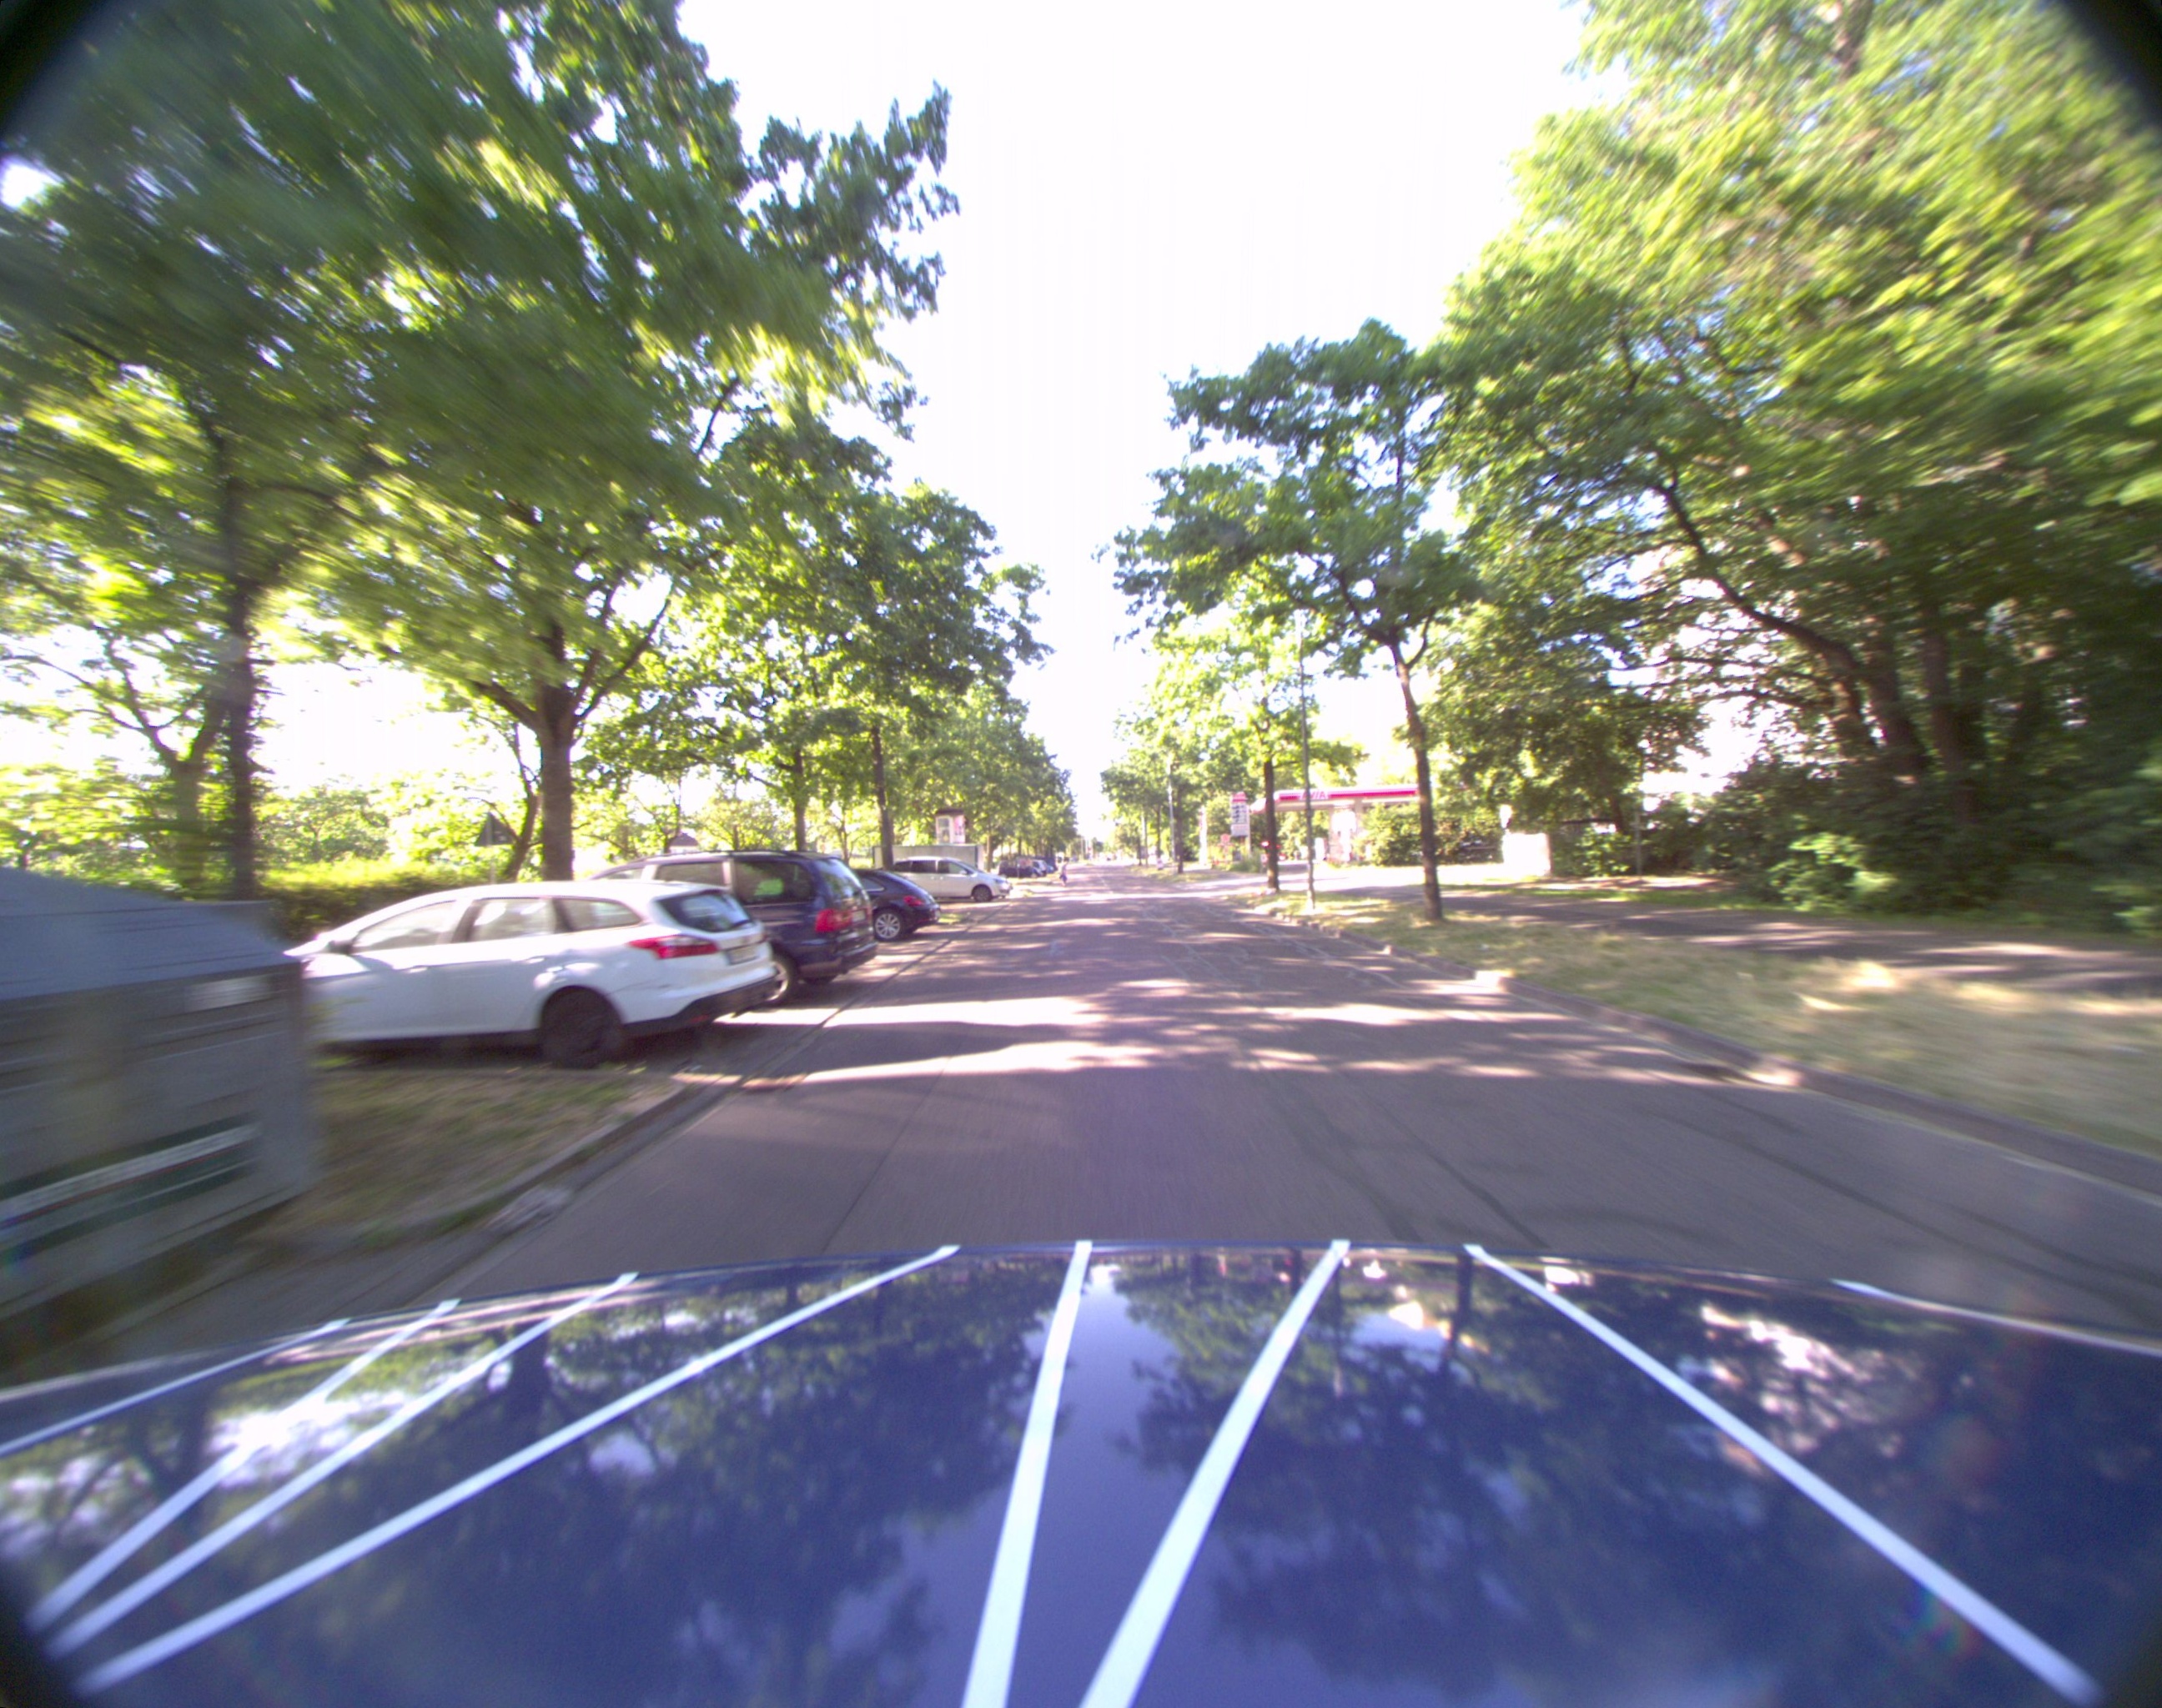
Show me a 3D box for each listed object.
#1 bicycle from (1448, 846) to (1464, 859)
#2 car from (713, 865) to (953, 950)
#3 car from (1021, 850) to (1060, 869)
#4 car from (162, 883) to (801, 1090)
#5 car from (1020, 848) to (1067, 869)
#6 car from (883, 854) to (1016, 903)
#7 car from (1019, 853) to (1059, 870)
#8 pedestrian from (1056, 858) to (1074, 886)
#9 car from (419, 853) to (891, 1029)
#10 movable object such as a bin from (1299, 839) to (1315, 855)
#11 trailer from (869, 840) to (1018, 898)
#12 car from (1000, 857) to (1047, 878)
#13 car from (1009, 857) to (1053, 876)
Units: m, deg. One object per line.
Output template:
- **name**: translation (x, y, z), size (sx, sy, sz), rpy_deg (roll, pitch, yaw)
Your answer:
- **bicycle**: translation (25.028, -0.129, 50.744), size (0.618, 0.802, 1.782), rpy_deg (-3, 0, 15)
- **car**: translation (-5.005, 1.062, 15.829), size (4.255, 1.510, 2.078), rpy_deg (-1, 0, 2)
- **car**: translation (-4.175, 0.531, 78.721), size (4.019, 1.826, 1.799), rpy_deg (-1, 1, -2)
- **car**: translation (-4.940, 1.057, 6.709), size (4.231, 1.463, 1.800), rpy_deg (-1, 0, 2)
- **car**: translation (-3.930, 0.476, 80.875), size (4.815, 2.020, 1.944), rpy_deg (-2, 1, 0)
- **car**: translation (-4.895, 0.907, 28.786), size (4.653, 1.712, 1.987), rpy_deg (-1, 0, 1)
- **car**: translation (-3.928, 0.723, 70.915), size (3.529, 1.523, 1.665), rpy_deg (-1, 1, 2)
- **pedestrian**: translation (-0.891, 1.004, 42.606), size (0.942, 1.491, 0.885), rpy_deg (-1, 0, 2)
- **car**: translation (-4.832, 0.935, 9.147), size (4.541, 1.791, 1.936), rpy_deg (-1, 0, 0)
- **movable object such as a bin**: translation (23.682, -0.744, 79.737), size (1.307, 1.533, 1.268), rpy_deg (-3, 1, 1)
- **trailer**: translation (-5.642, 0.610, 31.562), size (5.788, 2.304, 1.686), rpy_deg (-1, 1, 2)
- **car**: translation (-4.601, 1.049, 61.317), size (3.593, 1.567, 1.857), rpy_deg (-1, 1, 0)
- **car**: translation (-4.338, 1.065, 66.250), size (3.592, 1.567, 1.786), rpy_deg (-1, 1, 2)
